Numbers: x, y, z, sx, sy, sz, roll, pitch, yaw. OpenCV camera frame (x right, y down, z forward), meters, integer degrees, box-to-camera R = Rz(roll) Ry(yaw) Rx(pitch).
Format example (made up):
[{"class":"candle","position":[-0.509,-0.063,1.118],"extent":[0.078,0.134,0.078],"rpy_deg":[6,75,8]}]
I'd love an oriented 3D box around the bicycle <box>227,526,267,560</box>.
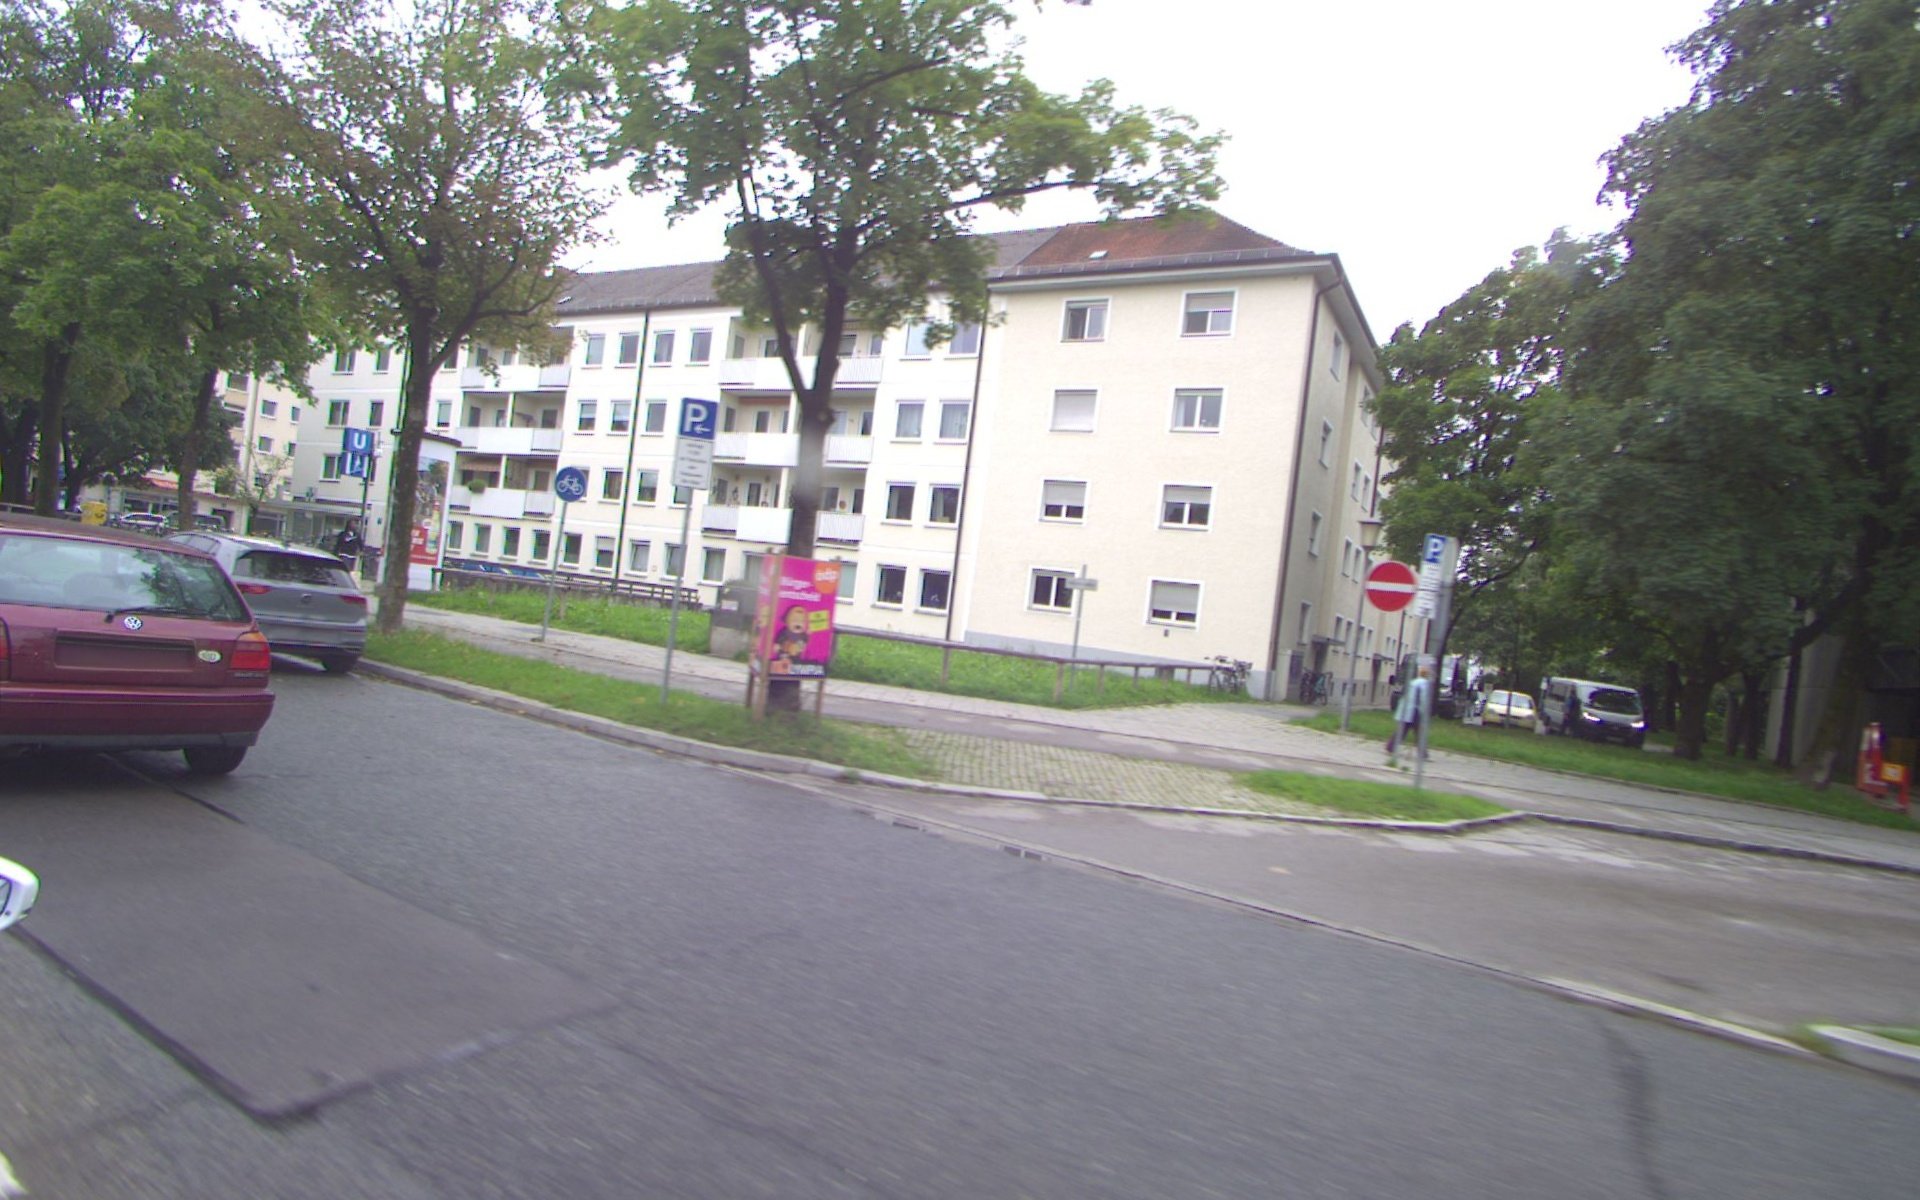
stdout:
[{"class":"bicycle","position":[-25.193,-2.022,35.516],"extent":[1.853,1.041,0.431],"rpy_deg":[7,1,33]}]

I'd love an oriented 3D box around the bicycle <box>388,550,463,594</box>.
[{"class":"bicycle","position":[-14.793,-0.769,27.887],"extent":[0.425,1.041,1.882],"rpy_deg":[7,0,24]}]

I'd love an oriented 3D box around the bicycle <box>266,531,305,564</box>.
[{"class":"bicycle","position":[-24.538,-1.911,36.578],"extent":[1.853,1.041,0.431],"rpy_deg":[7,1,33]}]

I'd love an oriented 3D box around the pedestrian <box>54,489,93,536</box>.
[{"class":"pedestrian","position":[-35.085,-3.449,39.822],"extent":[0.821,1.702,0.839],"rpy_deg":[7,1,31]}]

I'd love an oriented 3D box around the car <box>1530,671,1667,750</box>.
[{"class":"car","position":[22.044,3.727,35.084],"extent":[2.301,2.078,6.112],"rpy_deg":[7,0,18]}]

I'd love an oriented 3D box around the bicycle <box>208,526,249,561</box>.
[{"class":"bicycle","position":[-25.500,-1.979,35.057],"extent":[1.853,1.041,0.431],"rpy_deg":[7,1,33]}]

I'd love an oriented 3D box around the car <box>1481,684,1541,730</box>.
[{"class":"car","position":[18.687,3.589,34.138],"extent":[1.558,1.216,3.744],"rpy_deg":[8,0,29]}]

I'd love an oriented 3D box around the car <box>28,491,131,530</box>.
[{"class":"car","position":[-55.315,-5.608,63.280],"extent":[1.839,1.681,4.401],"rpy_deg":[7,0,29]}]

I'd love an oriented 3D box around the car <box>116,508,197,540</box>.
[{"class":"car","position":[-51.576,-4.888,64.618],"extent":[1.839,1.434,3.555],"rpy_deg":[7,0,29]}]

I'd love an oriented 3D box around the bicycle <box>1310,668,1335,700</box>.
[{"class":"bicycle","position":[12.178,2.808,33.817],"extent":[0.448,0.983,1.695],"rpy_deg":[7,0,28]}]

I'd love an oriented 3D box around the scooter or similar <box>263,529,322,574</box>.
[{"class":"scooter or similar","position":[-20.483,-1.481,30.874],"extent":[1.367,1.215,0.358],"rpy_deg":[7,1,-11]}]

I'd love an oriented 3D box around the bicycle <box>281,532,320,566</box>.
[{"class":"bicycle","position":[-24.247,-1.885,36.970],"extent":[1.853,1.041,0.431],"rpy_deg":[7,1,33]}]

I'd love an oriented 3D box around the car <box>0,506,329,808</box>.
[{"class":"car","position":[-5.852,0.140,6.162],"extent":[3.853,1.399,1.686],"rpy_deg":[7,-2,31]}]

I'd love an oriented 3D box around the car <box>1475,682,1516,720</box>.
[{"class":"car","position":[26.689,4.986,50.195],"extent":[1.558,1.557,3.745],"rpy_deg":[8,0,27]}]

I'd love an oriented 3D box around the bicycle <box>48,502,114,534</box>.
[{"class":"bicycle","position":[-36.316,-3.372,41.580],"extent":[0.549,0.950,1.880],"rpy_deg":[7,-2,33]}]

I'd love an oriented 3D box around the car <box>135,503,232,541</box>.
[{"class":"car","position":[-52.360,-5.210,67.910],"extent":[1.840,1.794,4.742],"rpy_deg":[7,0,30]}]

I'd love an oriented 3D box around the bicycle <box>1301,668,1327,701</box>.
[{"class":"bicycle","position":[11.360,2.698,32.242],"extent":[0.448,0.983,1.695],"rpy_deg":[7,0,28]}]

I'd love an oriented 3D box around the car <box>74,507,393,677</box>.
[{"class":"car","position":[-8.897,-0.136,12.238],"extent":[4.048,1.482,1.685],"rpy_deg":[7,-2,33]}]

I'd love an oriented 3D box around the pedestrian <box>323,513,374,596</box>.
[{"class":"pedestrian","position":[-13.978,-1.041,23.000],"extent":[0.837,1.772,0.638],"rpy_deg":[8,2,40]}]

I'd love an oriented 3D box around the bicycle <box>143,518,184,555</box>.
[{"class":"bicycle","position":[-26.547,-2.115,33.508],"extent":[1.853,1.041,0.431],"rpy_deg":[7,1,33]}]

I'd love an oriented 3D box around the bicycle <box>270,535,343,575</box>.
[{"class":"bicycle","position":[-20.698,-1.420,31.901],"extent":[0.425,1.041,1.880],"rpy_deg":[7,0,29]}]

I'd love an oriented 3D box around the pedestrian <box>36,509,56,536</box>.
[{"class":"pedestrian","position":[-35.702,-3.018,39.283],"extent":[0.428,0.961,0.408],"rpy_deg":[7,1,31]}]

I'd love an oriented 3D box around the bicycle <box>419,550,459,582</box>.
[{"class":"bicycle","position":[-20.254,-1.335,39.117],"extent":[1.853,1.041,0.431],"rpy_deg":[7,1,33]}]

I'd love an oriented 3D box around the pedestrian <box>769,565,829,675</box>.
[{"class":"pedestrian","position":[-2.681,0.345,16.794],"extent":[0.589,1.750,0.642],"rpy_deg":[7,-1,13]}]

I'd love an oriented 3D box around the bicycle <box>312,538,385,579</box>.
[{"class":"bicycle","position":[-18.670,-1.267,30.766],"extent":[0.425,1.041,1.880],"rpy_deg":[7,0,29]}]

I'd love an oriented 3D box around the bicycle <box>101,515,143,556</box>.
[{"class":"bicycle","position":[-27.244,-2.091,32.700],"extent":[1.853,1.148,0.431],"rpy_deg":[8,1,33]}]

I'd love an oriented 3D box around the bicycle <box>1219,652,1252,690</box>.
[{"class":"bicycle","position":[7.816,2.023,28.515],"extent":[0.448,0.983,1.695],"rpy_deg":[7,0,28]}]

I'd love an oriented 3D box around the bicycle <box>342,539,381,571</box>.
[{"class":"bicycle","position":[-23.070,-1.743,38.752],"extent":[1.853,1.041,0.431],"rpy_deg":[7,1,33]}]

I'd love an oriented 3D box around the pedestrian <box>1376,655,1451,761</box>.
[{"class":"pedestrian","position":[7.373,1.746,16.374],"extent":[0.767,1.593,0.580],"rpy_deg":[7,-1,0]}]

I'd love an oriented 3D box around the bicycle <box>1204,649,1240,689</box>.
[{"class":"bicycle","position":[7.015,1.864,26.924],"extent":[0.448,0.983,1.695],"rpy_deg":[7,0,28]}]

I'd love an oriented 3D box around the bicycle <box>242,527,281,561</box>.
[{"class":"bicycle","position":[-24.964,-2.001,35.943],"extent":[1.853,1.041,0.431],"rpy_deg":[7,1,33]}]

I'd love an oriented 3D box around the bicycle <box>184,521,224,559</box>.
[{"class":"bicycle","position":[-25.940,-2.076,34.509],"extent":[1.853,1.115,0.431],"rpy_deg":[7,1,33]}]

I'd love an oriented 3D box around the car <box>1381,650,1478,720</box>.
[{"class":"car","position":[17.180,3.066,36.619],"extent":[2.307,2.023,6.098],"rpy_deg":[7,0,32]}]
